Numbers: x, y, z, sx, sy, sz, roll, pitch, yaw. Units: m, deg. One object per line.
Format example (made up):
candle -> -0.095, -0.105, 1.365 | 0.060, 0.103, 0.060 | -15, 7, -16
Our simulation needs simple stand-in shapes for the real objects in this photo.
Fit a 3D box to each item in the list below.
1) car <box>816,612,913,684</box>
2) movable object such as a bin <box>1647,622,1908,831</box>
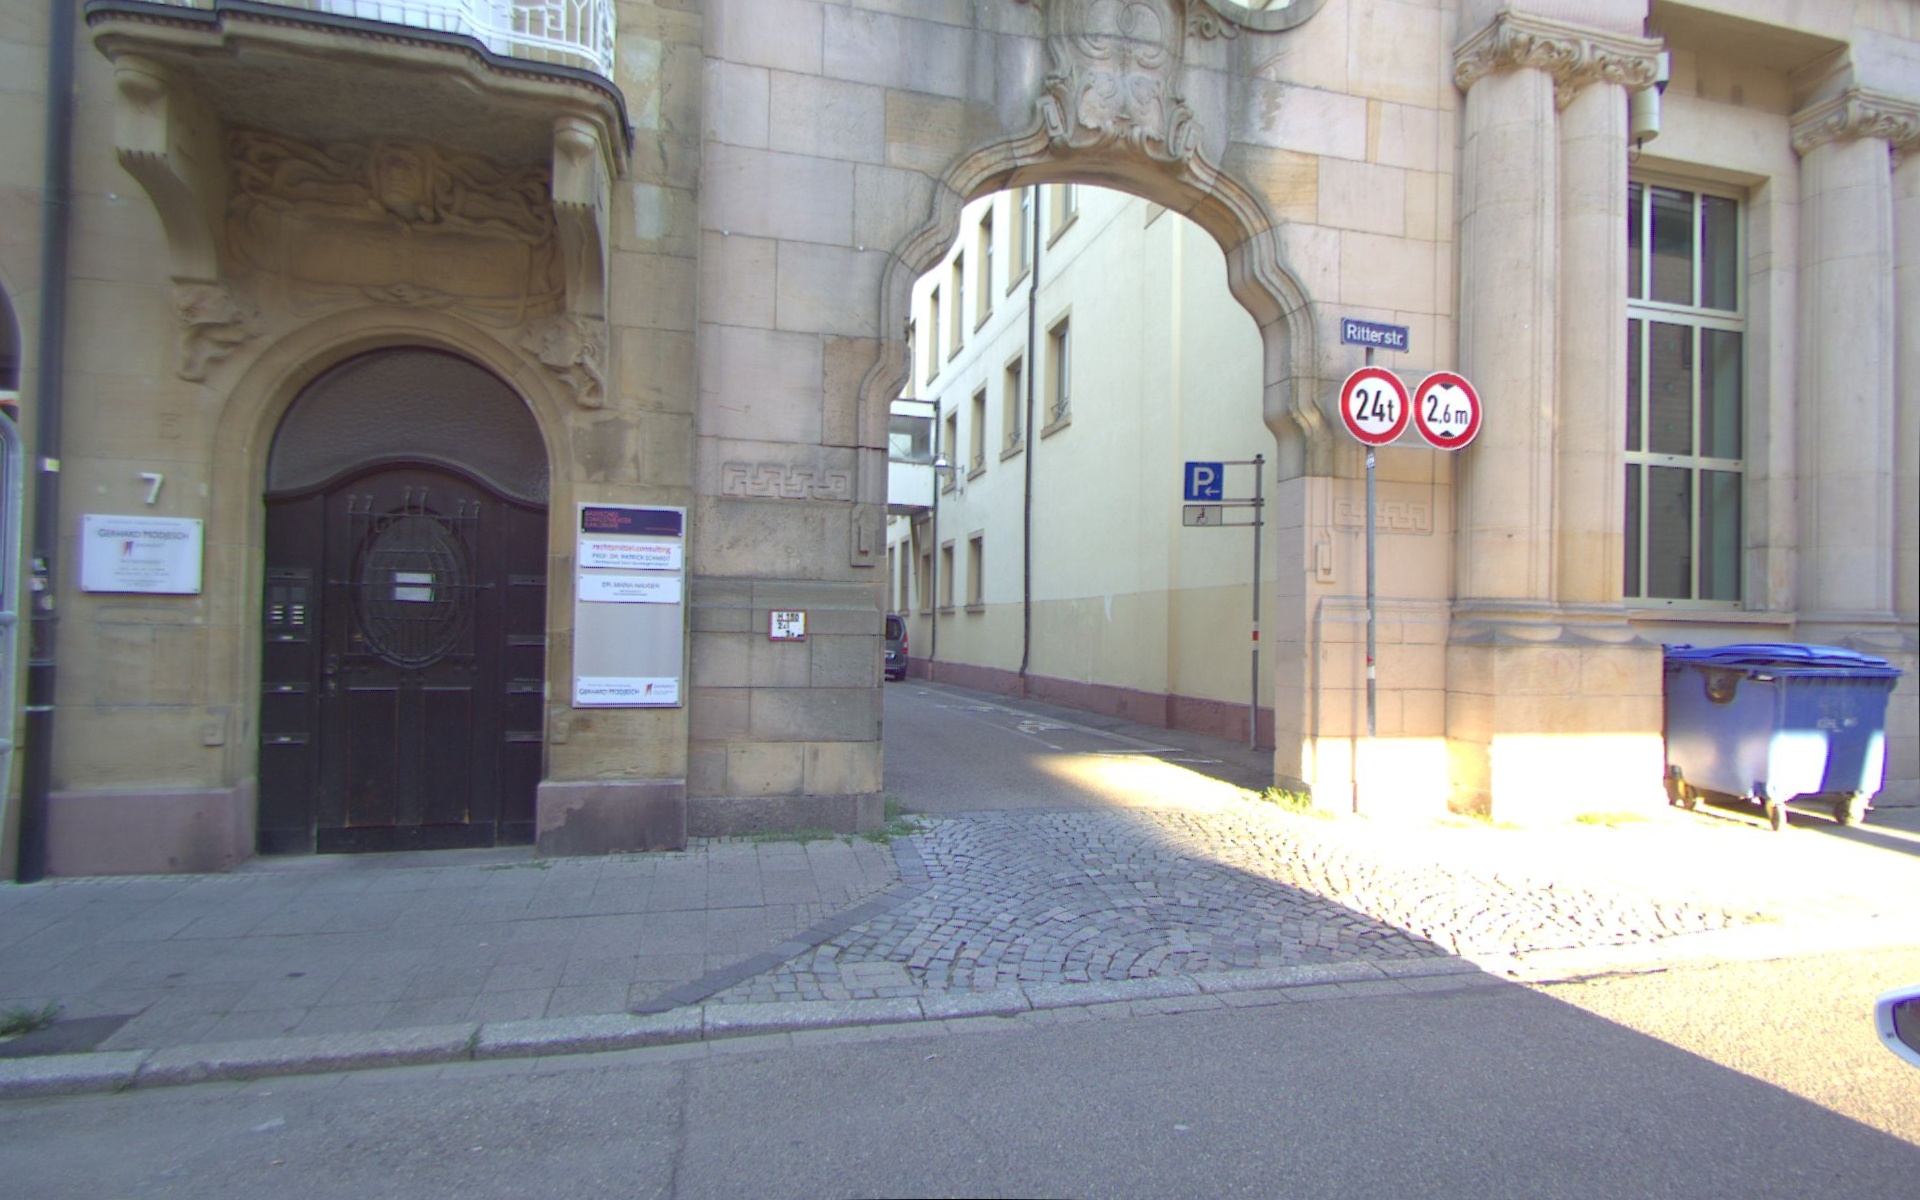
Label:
car -> -2.796, 1.305, 28.599 | 1.832, 1.778, 4.147 | 5, -2, -17
movable object such as a bin -> 6.373, 0.942, 7.900 | 1.166, 1.494, 1.075 | 1, 0, -10
